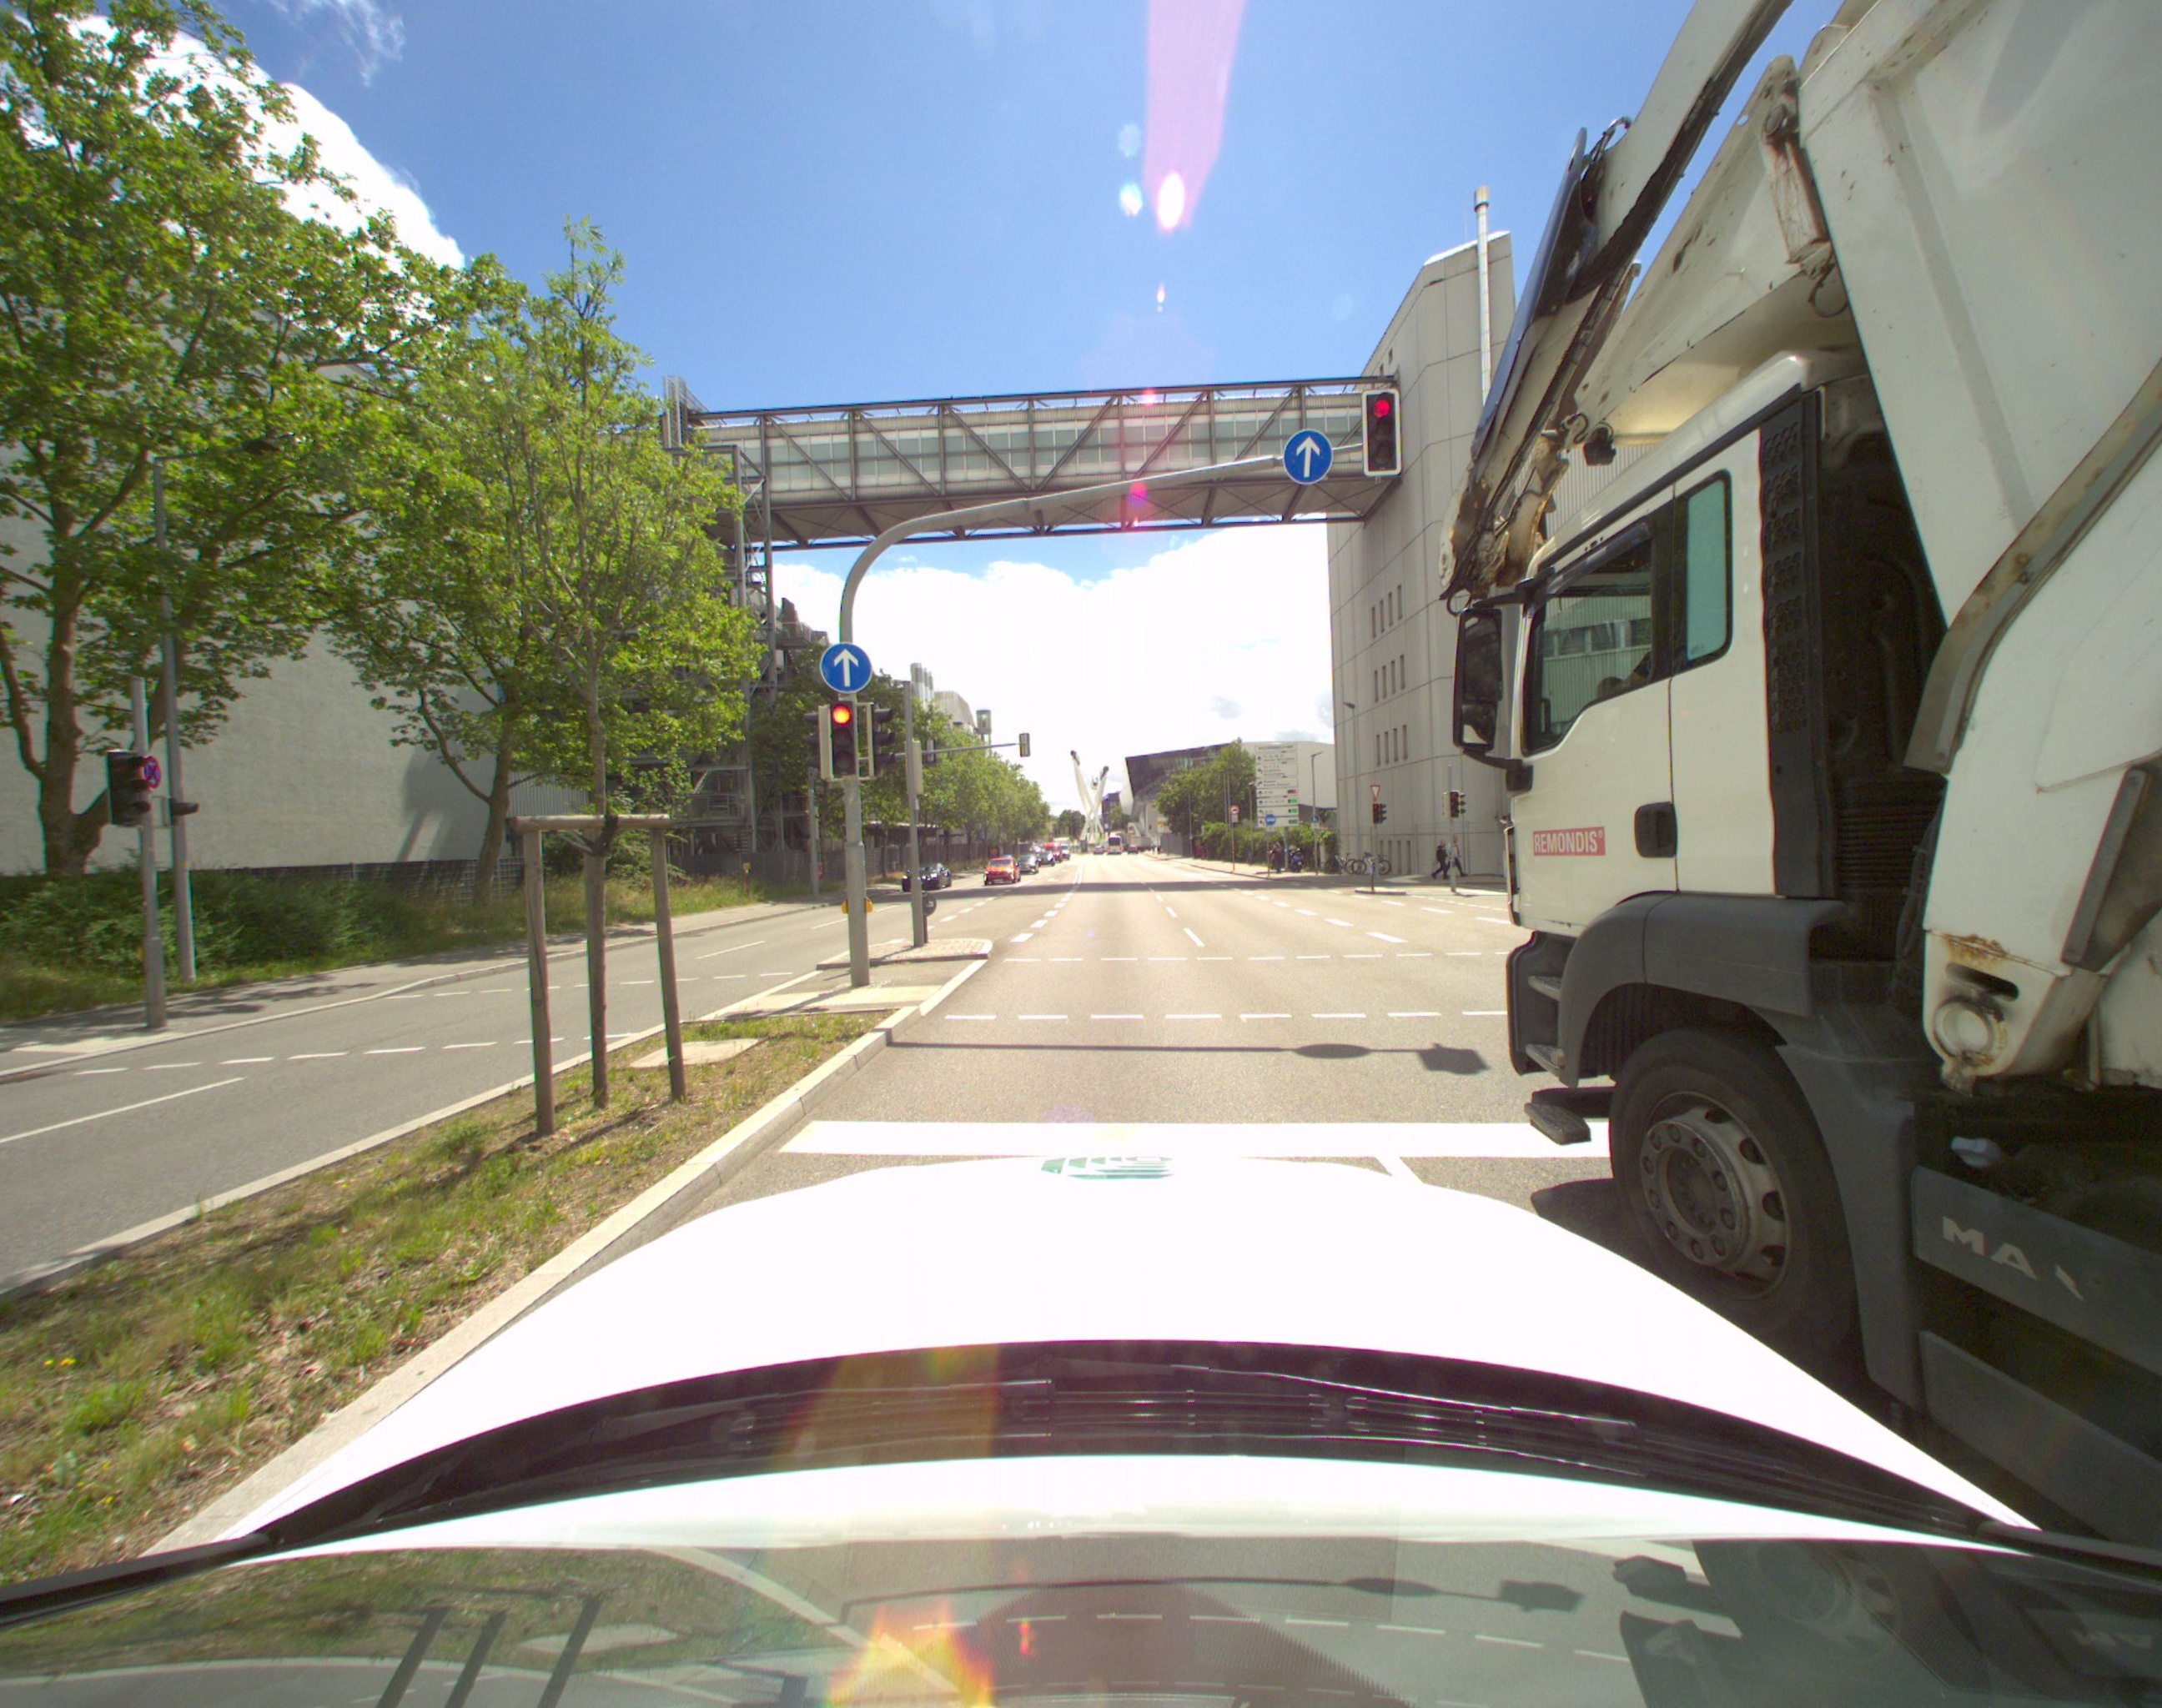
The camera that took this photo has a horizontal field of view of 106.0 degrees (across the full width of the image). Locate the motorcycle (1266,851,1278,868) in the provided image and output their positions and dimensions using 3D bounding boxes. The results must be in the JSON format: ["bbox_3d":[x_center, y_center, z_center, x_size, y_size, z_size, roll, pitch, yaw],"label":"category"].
[{"bbox_3d":[12.172,0.340,51.872,0.455,1.022,1.914,0,-1,4],"label":"motorcycle"}]

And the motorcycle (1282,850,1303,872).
[{"bbox_3d":[11.649,0.398,44.895,0.418,1.166,1.951,0,-1,-9],"label":"motorcycle"}]

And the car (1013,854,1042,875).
[{"bbox_3d":[-4.052,0.792,62.136,1.762,1.420,3.704,-4,0,3],"label":"car"}]

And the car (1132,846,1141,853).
[{"bbox_3d":[9.904,-0.797,146.108,1.551,1.273,3.704,-4,0,3],"label":"car"}]

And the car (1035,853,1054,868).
[{"bbox_3d":[-3.783,0.699,85.409,1.551,1.448,3.775,-4,0,3],"label":"car"}]

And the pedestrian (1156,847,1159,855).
[{"bbox_3d":[12.496,-0.479,132.859,0.384,1.421,0.424,0,-1,2],"label":"pedestrian"}]

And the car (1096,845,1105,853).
[{"bbox_3d":[3.581,-0.939,148.868,1.551,1.273,3.704,-4,0,3],"label":"car"}]

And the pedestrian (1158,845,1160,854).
[{"bbox_3d":[13.039,-0.766,135.767,0.384,1.421,0.424,0,-1,2],"label":"pedestrian"}]

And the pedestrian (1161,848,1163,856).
[{"bbox_3d":[13.175,-0.321,132.808,0.384,1.421,0.424,0,-1,2],"label":"pedestrian"}]

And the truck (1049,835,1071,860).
[{"bbox_3d":[-2.843,-0.802,112.892,2.581,3.324,7.083,0,-1,3],"label":"truck"}]

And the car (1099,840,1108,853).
[{"bbox_3d":[4.792,-1.638,171.338,1.837,2.624,4.002,0,-1,2],"label":"car"}]

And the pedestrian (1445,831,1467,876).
[{"bbox_3d":[15.657,-0.018,34.006,0.703,1.793,0.698,-4,0,27],"label":"pedestrian"}]

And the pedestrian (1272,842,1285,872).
[{"bbox_3d":[10.830,0.174,44.714,0.532,1.640,0.657,0,-1,-4],"label":"pedestrian"}]

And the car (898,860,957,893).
[{"bbox_3d":[-8.087,1.128,43.279,1.910,1.488,4.775,-4,0,3],"label":"car"}]

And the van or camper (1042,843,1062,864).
[{"bbox_3d":[-3.530,-0.054,100.770,2.038,2.466,5.598,-1,0,3],"label":"van or camper"}]

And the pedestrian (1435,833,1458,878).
[{"bbox_3d":[14.965,0.068,33.329,0.704,1.793,0.646,-4,0,19],"label":"pedestrian"}]

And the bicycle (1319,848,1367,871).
[{"bbox_3d":[13.082,0.279,40.705,2.196,1.086,0.480,-1,-1,37],"label":"bicycle"}]

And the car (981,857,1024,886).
[{"bbox_3d":[-4.309,0.922,45.111,1.762,1.420,3.704,-4,0,3],"label":"car"}]

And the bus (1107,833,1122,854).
[{"bbox_3d":[6.169,-1.963,150.286,2.776,3.686,6.947,0,-1,3],"label":"bus"}]

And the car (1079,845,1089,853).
[{"bbox_3d":[0.618,-0.958,155.915,1.551,1.273,3.704,-4,0,3],"label":"car"}]

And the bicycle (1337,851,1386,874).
[{"bbox_3d":[13.556,0.402,39.414,2.196,1.086,0.480,-1,-1,37],"label":"bicycle"}]

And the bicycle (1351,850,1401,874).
[{"bbox_3d":[13.927,0.391,38.504,2.166,1.086,0.480,-1,-1,37],"label":"bicycle"}]

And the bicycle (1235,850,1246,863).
[{"bbox_3d":[12.722,0.179,65.131,0.417,1.022,1.911,0,-1,-2],"label":"bicycle"}]

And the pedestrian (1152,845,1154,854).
[{"bbox_3d":[12.023,-0.751,136.111,0.384,1.421,0.424,0,-1,2],"label":"pedestrian"}]

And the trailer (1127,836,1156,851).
[{"bbox_3d":[12.817,-2.203,172.099,3.291,2.995,10.429,-1,-1,21],"label":"trailer"}]
